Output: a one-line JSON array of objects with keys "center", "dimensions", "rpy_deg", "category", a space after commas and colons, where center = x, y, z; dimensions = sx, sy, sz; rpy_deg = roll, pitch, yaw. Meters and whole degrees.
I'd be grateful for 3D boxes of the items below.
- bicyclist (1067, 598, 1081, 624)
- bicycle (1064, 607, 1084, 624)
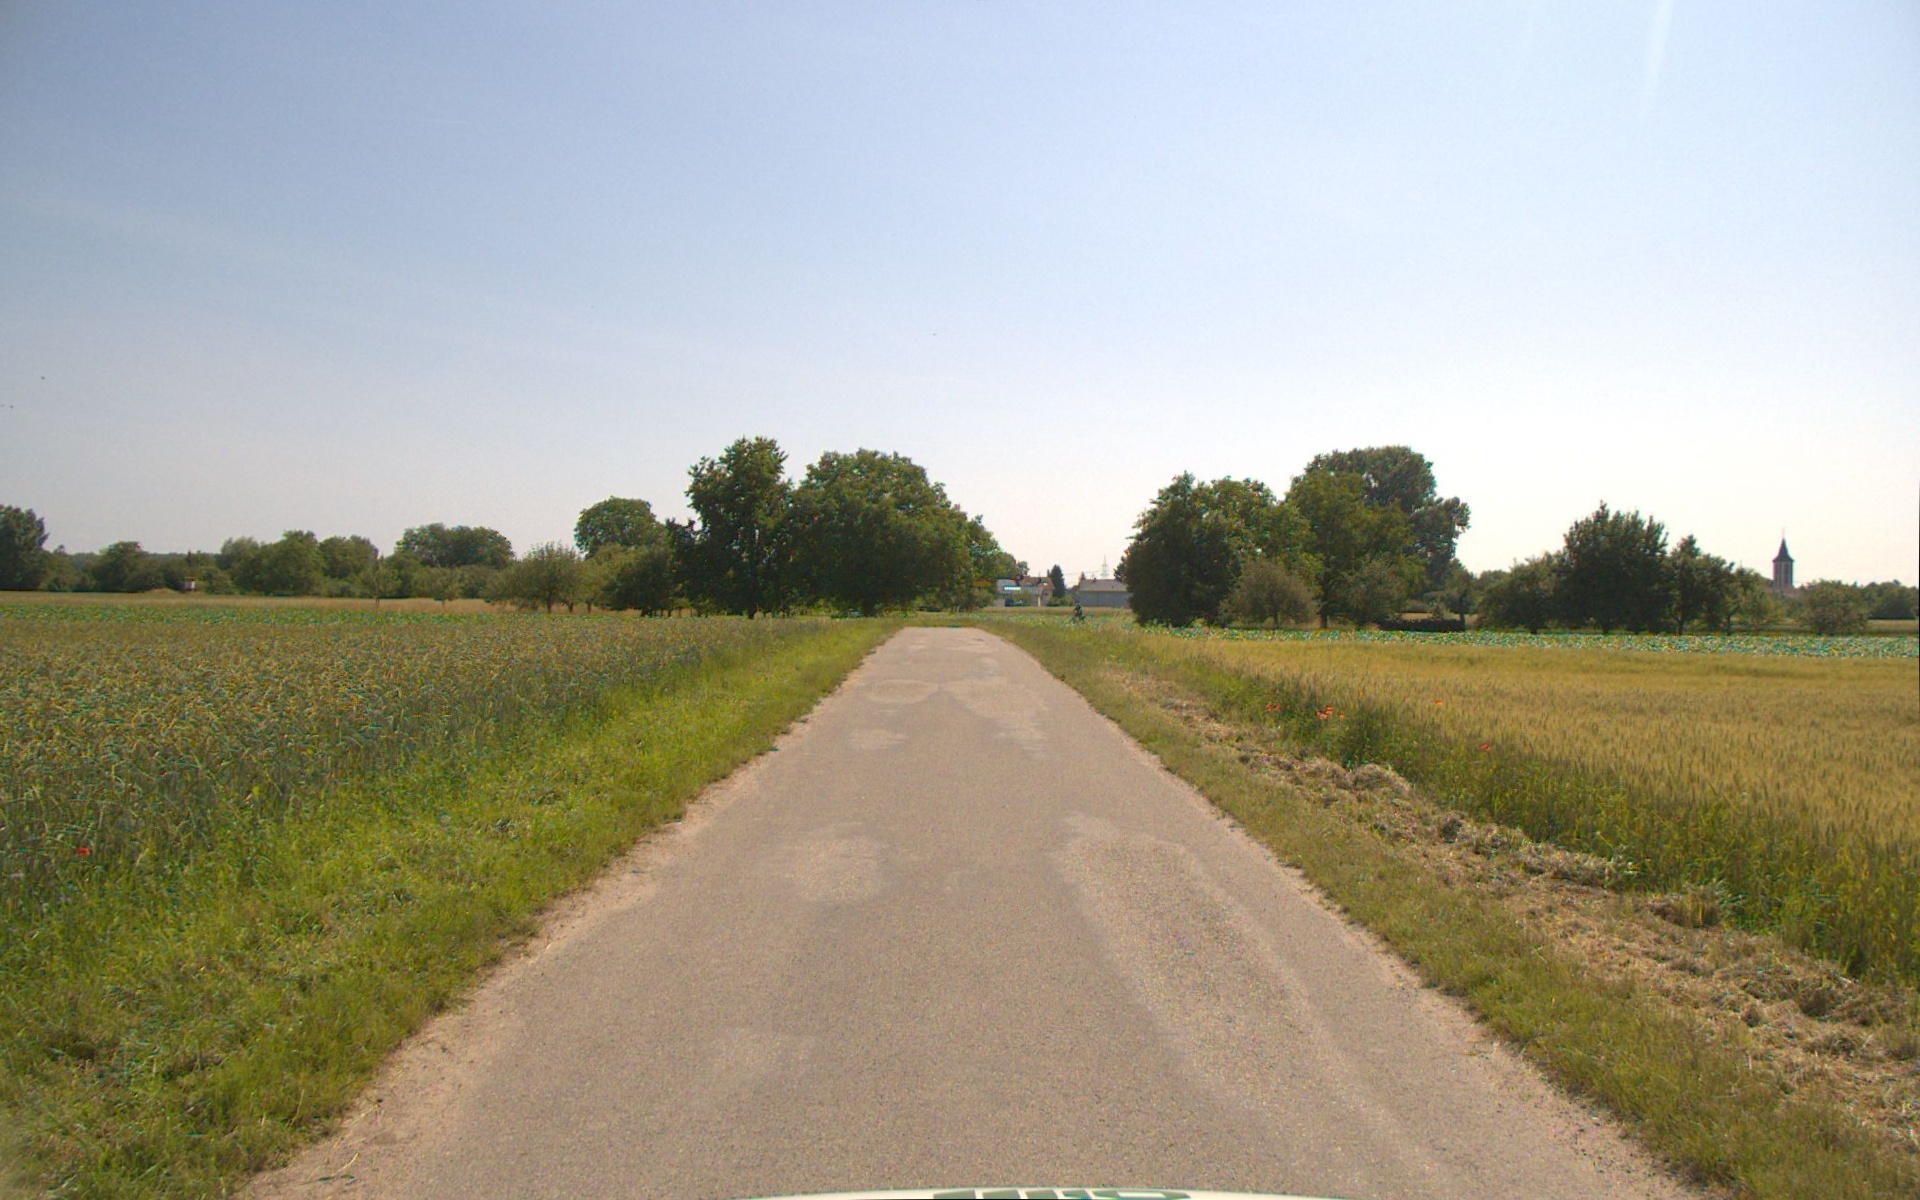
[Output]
[{"center": [8.001, 0.771, 116.241], "dimensions": [0.735, 1.823, 0.716], "rpy_deg": [-1, -1, 25], "category": "bicyclist"}, {"center": [8.002, 1.108, 116.233], "dimensions": [0.735, 1.147, 1.907], "rpy_deg": [-1, -1, 25], "category": "bicycle"}]
